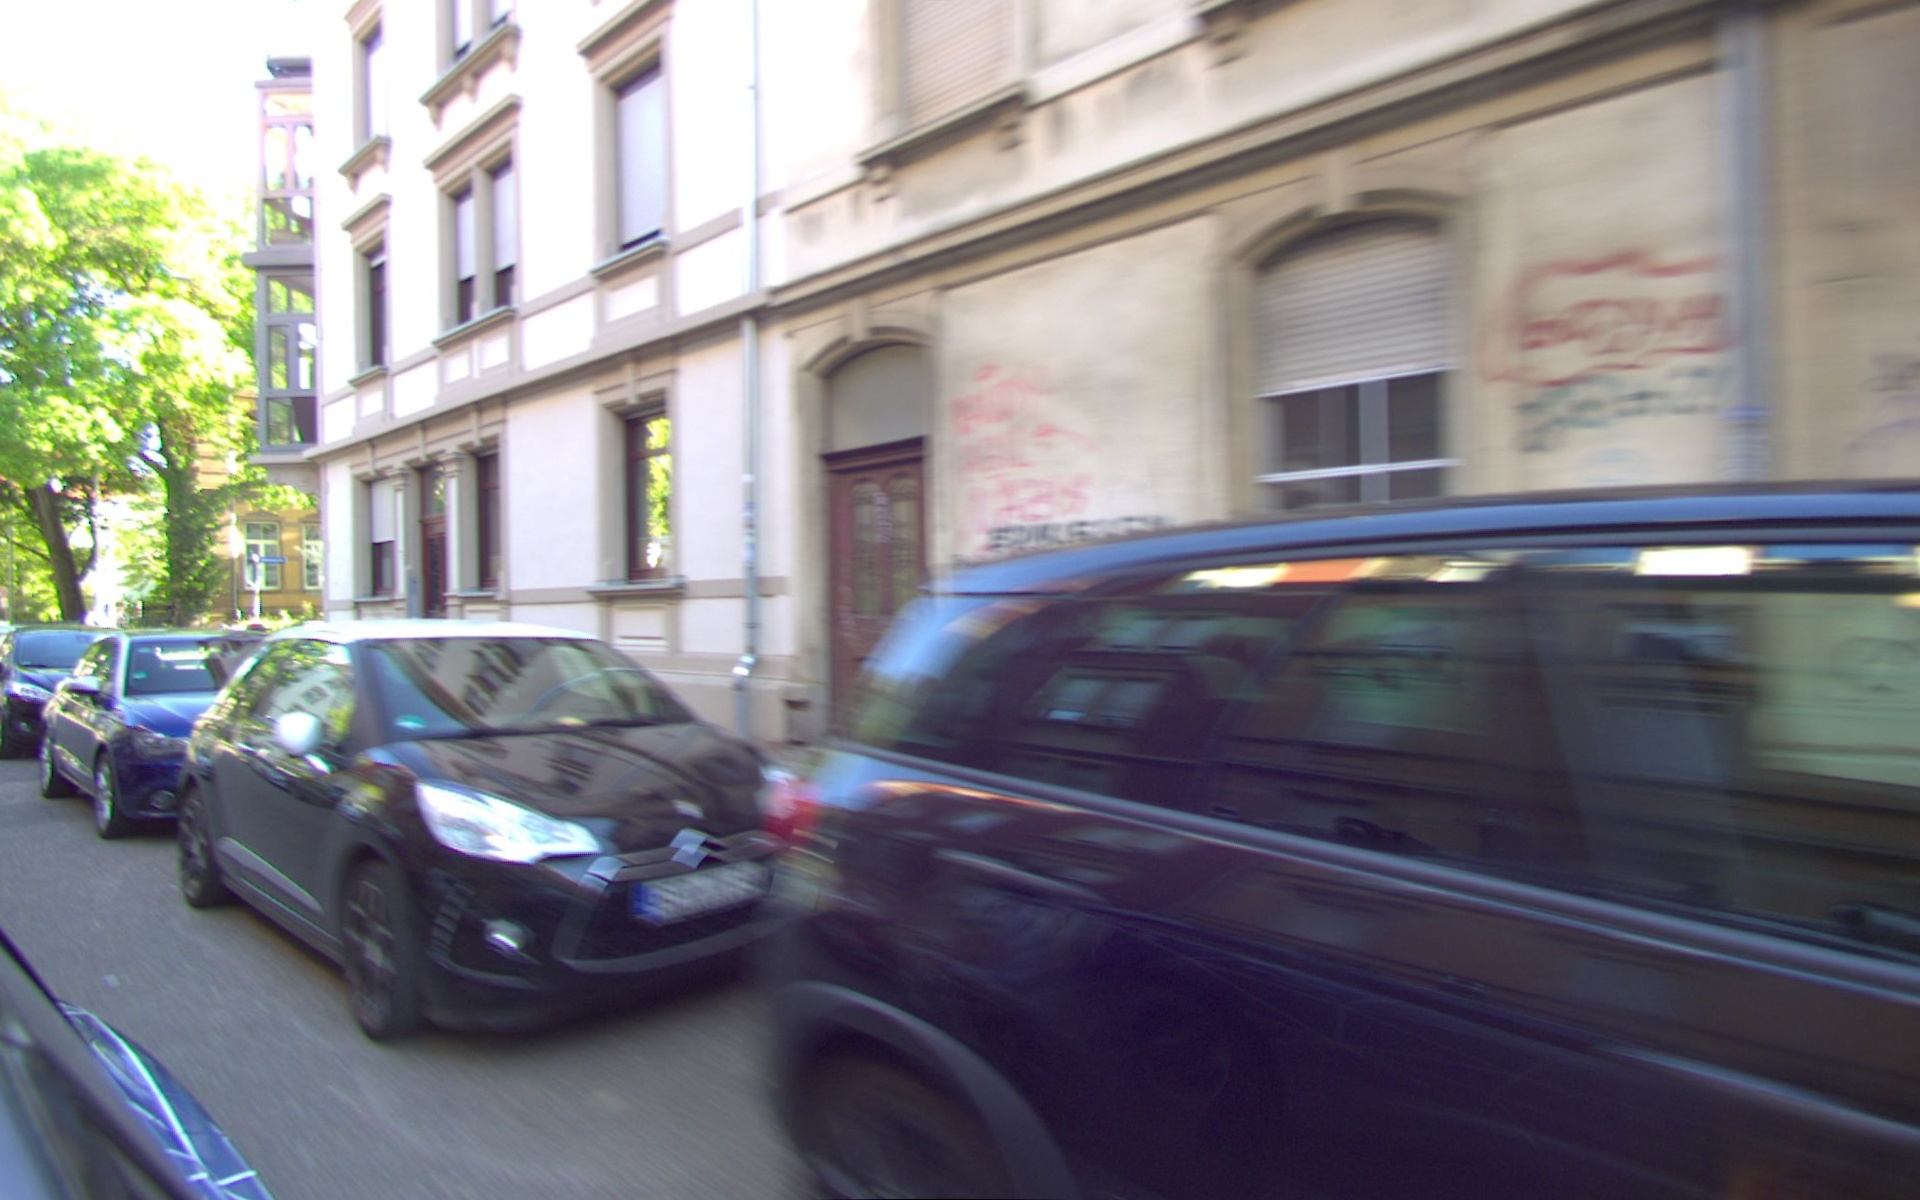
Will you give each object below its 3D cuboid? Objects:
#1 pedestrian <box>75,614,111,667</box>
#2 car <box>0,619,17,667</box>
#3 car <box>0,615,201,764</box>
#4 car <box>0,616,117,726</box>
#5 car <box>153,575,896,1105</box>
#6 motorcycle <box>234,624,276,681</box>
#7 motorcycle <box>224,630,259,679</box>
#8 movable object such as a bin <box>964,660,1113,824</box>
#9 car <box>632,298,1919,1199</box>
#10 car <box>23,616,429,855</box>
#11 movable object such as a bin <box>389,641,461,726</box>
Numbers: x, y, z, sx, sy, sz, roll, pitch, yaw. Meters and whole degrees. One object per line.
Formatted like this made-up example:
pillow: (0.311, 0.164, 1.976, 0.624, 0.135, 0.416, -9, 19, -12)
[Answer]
pedestrian: (-29.597, 1.369, 34.543, 1.006, 1.759, 0.794, -1, -1, 42)
car: (-33.321, 1.413, 34.186, 3.950, 1.570, 1.688, -1, -3, 41)
car: (-10.660, 0.956, 12.172, 3.741, 1.494, 1.762, -1, -1, 42)
car: (-14.415, 1.023, 15.583, 3.933, 1.494, 1.761, -1, -1, 44)
car: (-2.239, 0.729, 4.700, 3.836, 1.467, 1.626, -2, -3, 40)
motorcycle: (-16.287, 1.185, 23.416, 0.603, 1.205, 2.050, 0, 0, -29)
motorcycle: (-17.808, 1.327, 25.094, 0.630, 1.098, 1.875, 0, 0, -33)
movable object such as a bin: (0.502, 0.874, 6.520, 0.733, 0.927, 0.606, -1, 0, 41)
car: (1.393, 0.550, 1.539, 4.188, 1.629, 1.742, -1, -1, 42)
car: (-5.947, 0.870, 8.053, 3.739, 1.414, 1.763, -1, -1, 40)
movable object such as a bin: (-6.556, 1.009, 12.407, 0.511, 0.963, 0.615, -1, 1, 41)
